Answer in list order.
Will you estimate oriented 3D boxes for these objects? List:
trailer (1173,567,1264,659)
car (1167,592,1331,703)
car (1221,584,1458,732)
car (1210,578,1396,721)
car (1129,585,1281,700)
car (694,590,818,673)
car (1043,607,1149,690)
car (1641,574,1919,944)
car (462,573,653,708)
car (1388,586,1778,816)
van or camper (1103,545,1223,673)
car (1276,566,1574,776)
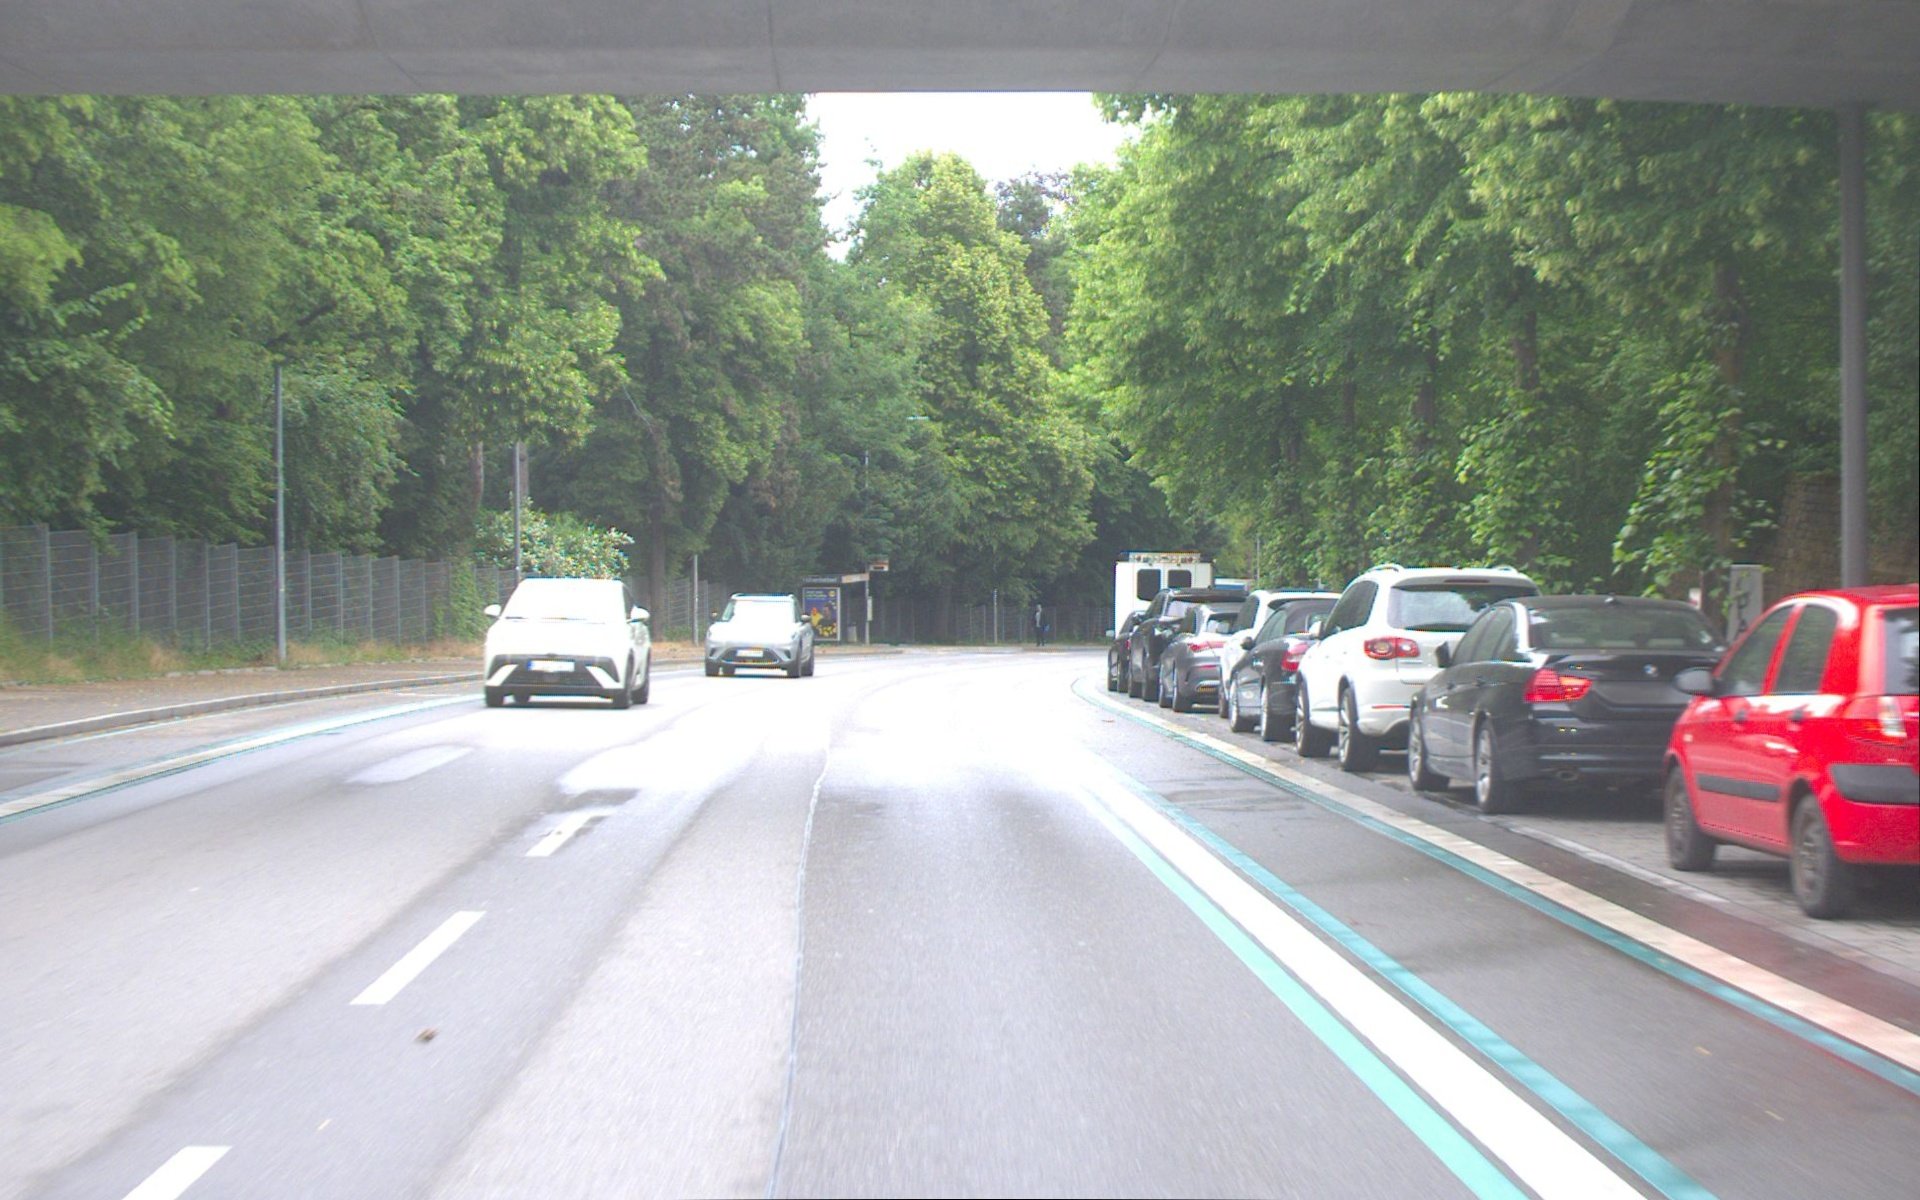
[{"bbox_3d":[7.902,0.402,104.654,2.317,2.663,5.374,1,0,9],"label":"trailer"},{"bbox_3d":[3.733,0.623,45.004,1.775,1.344,4.466,1,-1,0],"label":"car"},{"bbox_3d":[3.742,0.606,34.592,1.718,1.371,4.558,1,-1,-2],"label":"car"},{"bbox_3d":[3.926,0.560,39.847,1.661,1.530,3.741,2,0,-1],"label":"car"},{"bbox_3d":[3.652,0.663,51.870,1.993,1.639,4.347,1,-1,0],"label":"car"},{"bbox_3d":[-3.972,0.619,67.548,1.796,1.571,4.101,0,0,6],"label":"car"},{"bbox_3d":[2.323,0.852,59.536,1.678,1.371,4.000,1,-1,0],"label":"car"},{"bbox_3d":[4.449,0.673,16.475,1.558,1.461,3.626,1,2,-1],"label":"car"},{"bbox_3d":[-4.827,0.454,41.683,1.971,1.547,3.870,0,1,-2],"label":"car"},{"bbox_3d":[4.080,0.644,23.205,1.672,1.389,4.450,1,-1,-2],"label":"car"},{"bbox_3d":[4.540,0.201,75.812,2.317,2.655,6.380,1,0,6],"label":"van or camper"},{"bbox_3d":[3.816,0.559,28.875,1.713,1.613,4.261,1,0,-3],"label":"car"}]
